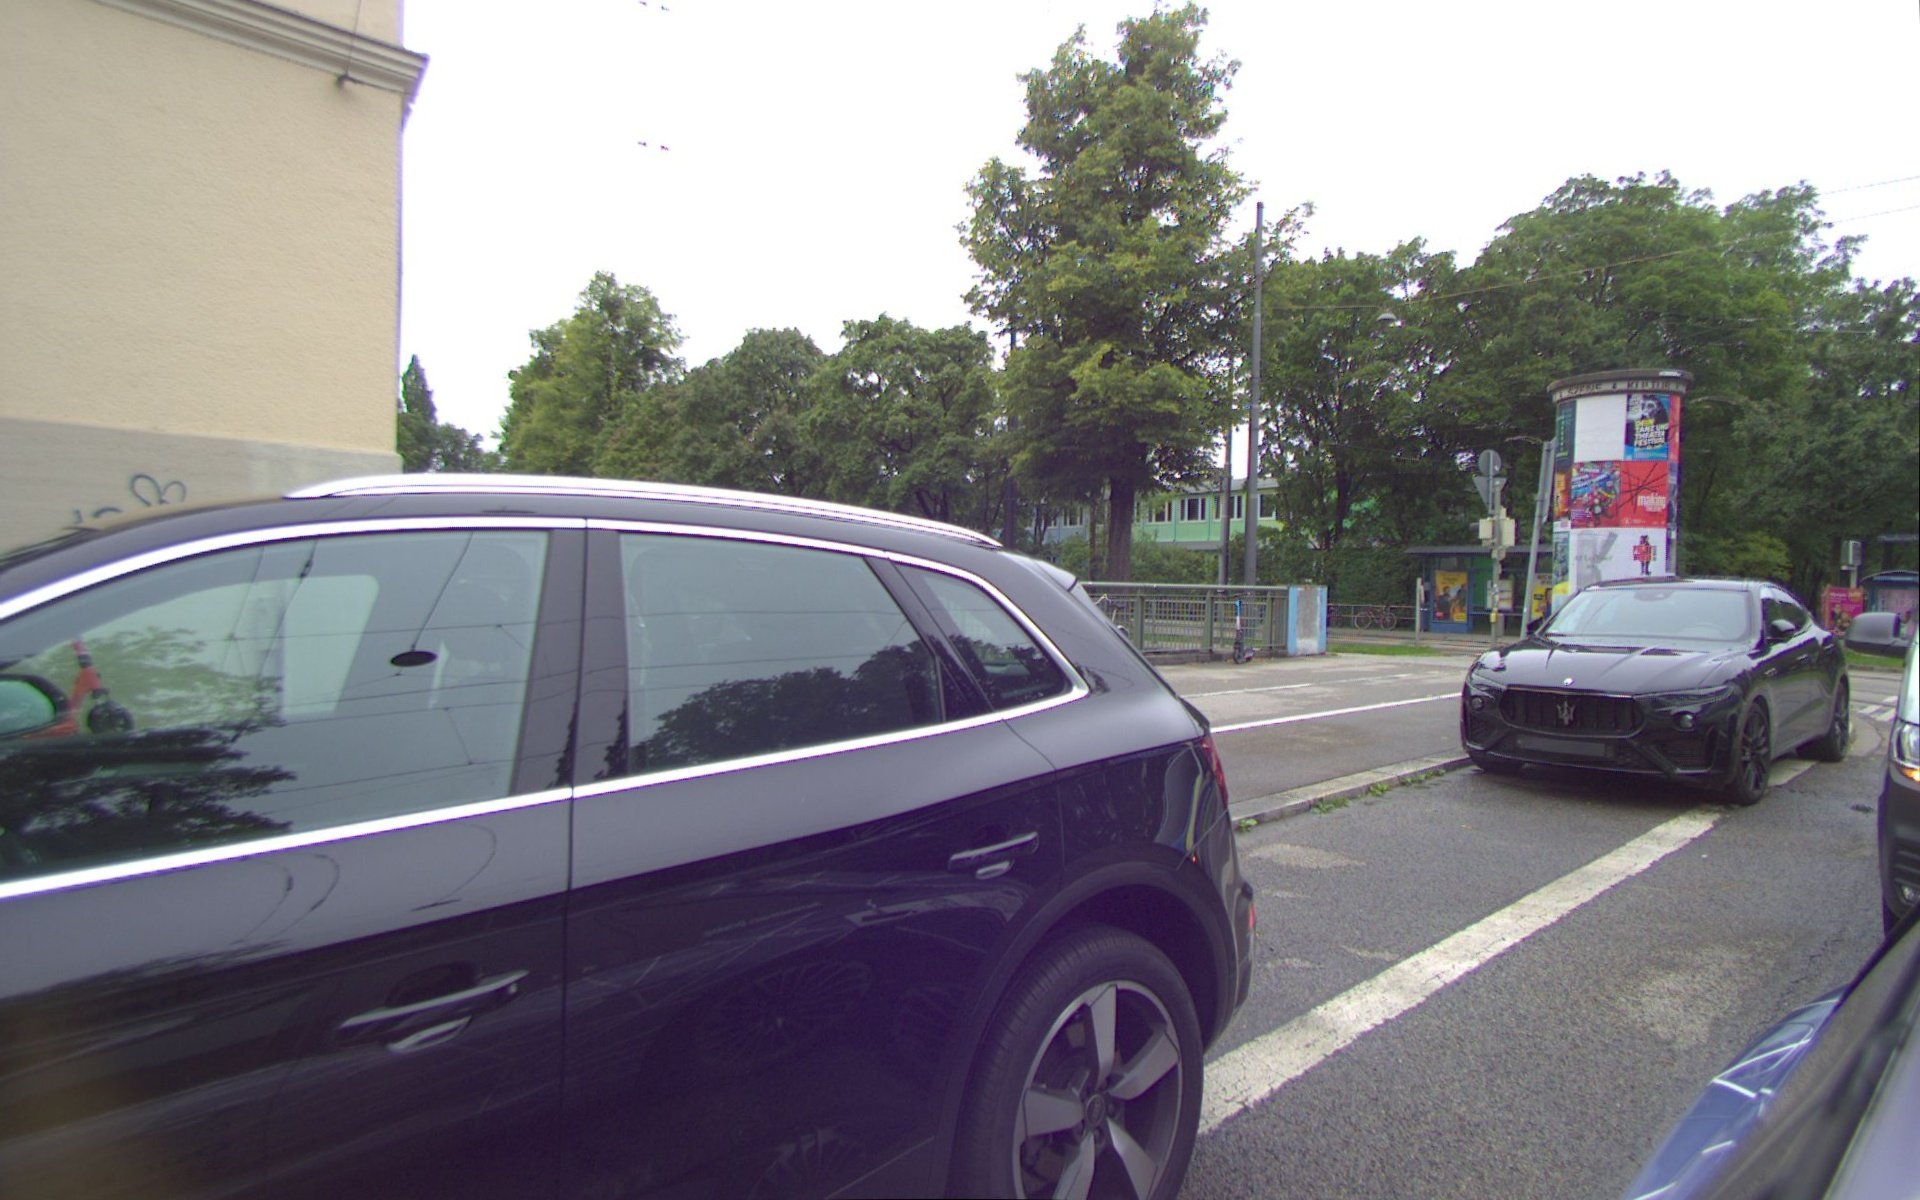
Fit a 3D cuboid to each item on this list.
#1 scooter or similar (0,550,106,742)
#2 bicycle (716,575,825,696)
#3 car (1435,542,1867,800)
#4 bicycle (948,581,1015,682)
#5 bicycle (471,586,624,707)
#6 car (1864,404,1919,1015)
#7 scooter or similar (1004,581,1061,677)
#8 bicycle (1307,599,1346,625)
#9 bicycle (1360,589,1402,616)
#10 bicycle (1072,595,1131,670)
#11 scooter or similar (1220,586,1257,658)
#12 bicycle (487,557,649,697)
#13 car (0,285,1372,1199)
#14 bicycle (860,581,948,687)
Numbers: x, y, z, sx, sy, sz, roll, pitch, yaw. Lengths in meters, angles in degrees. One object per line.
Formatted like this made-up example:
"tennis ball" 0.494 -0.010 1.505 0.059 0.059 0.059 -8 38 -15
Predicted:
"scooter or similar" -6.748 0.321 7.115 0.261 1.329 1.124 -1 0 43
"bicycle" -2.145 0.380 11.575 0.281 1.298 1.391 -1 0 38
"car" 6.053 0.462 8.629 4.582 1.630 1.904 0 -1 -40
"bicycle" 0.309 0.396 13.631 0.280 1.298 1.395 -1 0 29
"bicycle" -4.048 0.426 10.018 0.286 1.120 1.421 1 1 42
"car" 5.879 0.380 4.734 5.612 2.078 1.901 0 2 -43
"scooter or similar" 1.038 0.382 14.278 0.242 1.279 1.482 -1 0 27
"bicycle" 14.528 0.468 40.182 0.366 0.964 1.483 0 1 -38
"bicycle" 15.933 0.082 38.320 0.366 0.964 1.483 0 1 -38
"bicycle" 2.183 0.474 15.511 0.263 1.096 1.524 -1 0 34
"scooter or similar" 4.895 0.368 17.786 0.224 1.227 1.006 -1 0 40
"bicycle" -3.928 0.250 10.217 1.511 1.329 0.332 0 0 -42
"car" -1.148 0.527 1.957 4.408 1.679 1.778 -1 0 -40
"bicycle" -0.696 0.409 12.965 0.281 1.298 1.391 -1 0 38
